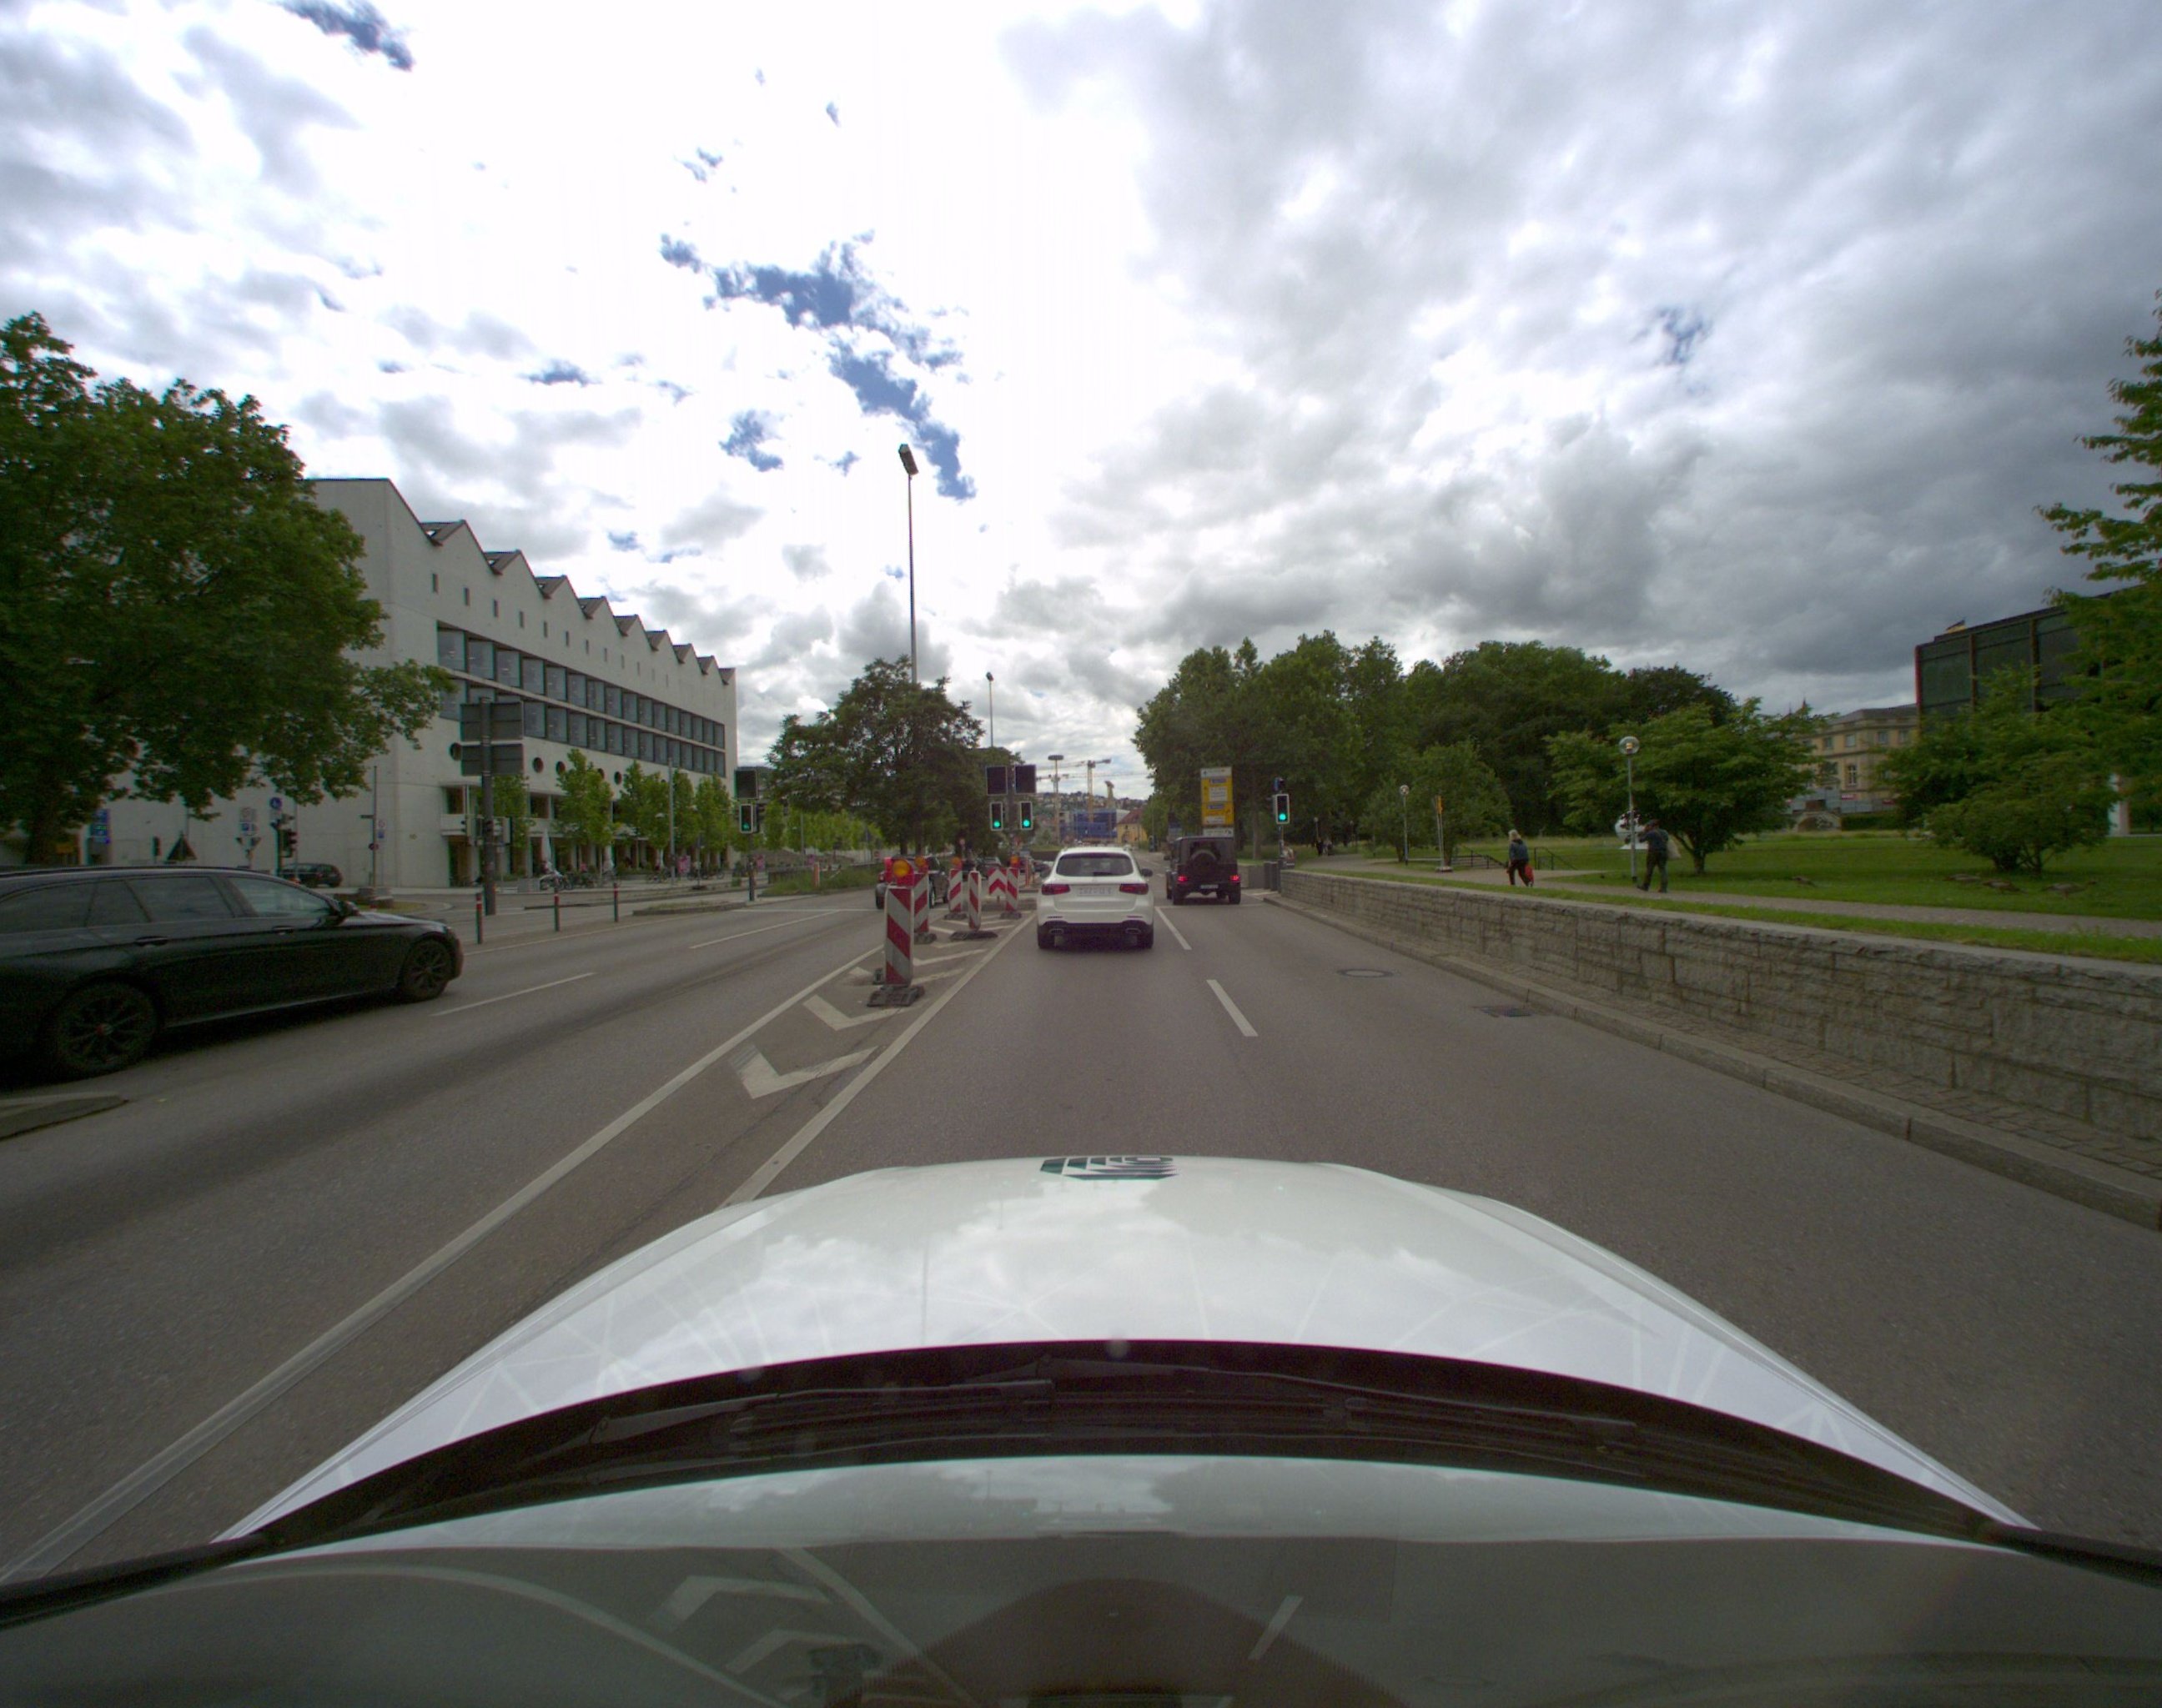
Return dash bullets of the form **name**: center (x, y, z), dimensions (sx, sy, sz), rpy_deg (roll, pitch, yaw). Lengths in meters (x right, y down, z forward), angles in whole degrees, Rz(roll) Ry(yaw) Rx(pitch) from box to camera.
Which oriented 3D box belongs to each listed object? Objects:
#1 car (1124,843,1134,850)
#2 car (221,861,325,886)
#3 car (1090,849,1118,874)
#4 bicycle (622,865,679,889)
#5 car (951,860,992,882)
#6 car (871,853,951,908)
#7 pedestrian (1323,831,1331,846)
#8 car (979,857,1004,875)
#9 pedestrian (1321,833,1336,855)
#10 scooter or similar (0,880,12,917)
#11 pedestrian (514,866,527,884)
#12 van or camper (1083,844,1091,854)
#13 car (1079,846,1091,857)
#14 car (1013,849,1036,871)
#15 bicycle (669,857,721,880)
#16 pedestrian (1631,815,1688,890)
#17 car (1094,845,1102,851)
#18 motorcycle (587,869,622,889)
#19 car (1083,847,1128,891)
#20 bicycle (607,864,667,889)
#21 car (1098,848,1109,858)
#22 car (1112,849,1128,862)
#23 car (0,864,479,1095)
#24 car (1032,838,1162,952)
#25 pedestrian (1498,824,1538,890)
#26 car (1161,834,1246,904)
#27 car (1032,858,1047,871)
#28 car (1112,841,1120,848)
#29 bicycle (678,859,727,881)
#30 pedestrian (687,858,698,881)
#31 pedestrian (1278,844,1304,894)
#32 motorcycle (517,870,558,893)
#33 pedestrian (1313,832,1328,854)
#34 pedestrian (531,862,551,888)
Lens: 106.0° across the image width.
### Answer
- **car**: center (11.916, -1.804, 202.614), dimensions (1.990, 1.618, 3.994), rpy_deg (1, -1, -4)
- **car**: center (-45.203, 1.087, 45.605), dimensions (3.974, 1.276, 1.751), rpy_deg (1, -1, 0)
- **car**: center (1.512, 0.470, 54.775), dimensions (1.714, 1.584, 3.998), rpy_deg (1, 0, -1)
- **bicycle**: center (-32.750, 1.748, 61.966), dimensions (3.603, 1.684, 1.182), rpy_deg (-2, 0, -2)
- **car**: center (-6.721, 1.016, 50.329), dimensions (1.711, 1.292, 4.005), rpy_deg (1, 0, 4)
- **car**: center (-4.992, 0.746, 24.334), dimensions (1.622, 1.509, 3.539), rpy_deg (0, -1, 0)
- **pedestrian**: center (21.125, -1.324, 69.996), dimensions (0.580, 1.325, 0.542), rpy_deg (1, -1, 1)
- **car**: center (-7.933, 1.025, 72.390), dimensions (1.748, 1.553, 3.998), rpy_deg (1, 0, -1)
- **pedestrian**: center (21.222, -0.845, 69.740), dimensions (0.992, 1.836, 1.030), rpy_deg (1, -1, 3)
- **scooter or similar**: center (-40.340, 1.649, 29.920), dimensions (1.410, 1.340, 0.538), rpy_deg (-2, 0, 0)
- **pedestrian**: center (-41.120, 1.539, 59.702), dimensions (0.517, 1.327, 0.565), rpy_deg (-3, -2, 0)
- **van or camper**: center (1.416, -1.156, 194.133), dimensions (1.916, 2.320, 3.998), rpy_deg (-1, -2, 0)
- **car**: center (0.663, -0.454, 143.516), dimensions (1.986, 1.757, 4.001), rpy_deg (1, -1, 2)
- **car**: center (-4.567, 0.482, 66.202), dimensions (1.714, 1.678, 3.998), rpy_deg (1, 0, -1)
- **bicycle**: center (-32.061, 1.203, 67.731), dimensions (3.614, 1.684, 1.178), rpy_deg (-2, 0, -11)
- **pedestrian**: center (12.951, -0.041, 18.241), dimensions (0.797, 1.626, 0.627), rpy_deg (-2, 0, 8)
- **car**: center (4.157, -1.441, 200.700), dimensions (1.714, 1.584, 3.998), rpy_deg (1, 0, -1)
- **motorcycle**: center (-30.712, 1.618, 52.517), dimensions (1.893, 1.234, 0.653), rpy_deg (-2, -2, -25)
- **car**: center (0.951, 0.599, 32.374), dimensions (1.666, 1.628, 4.000), rpy_deg (1, -1, 1)
- **bicycle**: center (-32.446, 1.643, 59.540), dimensions (3.603, 1.684, 1.182), rpy_deg (-2, 0, -2)
- **car**: center (4.094, -0.248, 148.737), dimensions (1.987, 1.781, 3.999), rpy_deg (1, -1, 0)
- **car**: center (5.245, 0.187, 110.464), dimensions (1.987, 1.662, 3.999), rpy_deg (1, -1, 0)
- **car**: center (-7.825, 0.820, 6.971), dimensions (1.807, 1.460, 4.859), rpy_deg (0, -1, -2)
- **car**: center (0.231, 0.635, 14.243), dimensions (1.935, 1.684, 3.999), rpy_deg (1, -1, -1)
- **pedestrian**: center (10.751, 0.073, 20.053), dimensions (0.677, 1.562, 0.912), rpy_deg (-2, 0, 18)
- **car**: center (3.613, 0.435, 24.864), dimensions (1.970, 1.893, 4.708), rpy_deg (-1, -1, 1)
- **car**: center (-5.081, 1.265, 99.763), dimensions (1.716, 1.584, 3.994), rpy_deg (1, 0, -4)
- **car**: center (8.232, -2.192, 190.936), dimensions (1.714, 1.584, 3.998), rpy_deg (1, 0, -1)
- **bicycle**: center (-32.384, 1.345, 69.739), dimensions (3.614, 1.684, 1.178), rpy_deg (-2, 0, -11)
- **pedestrian**: center (-35.368, 1.400, 74.121), dimensions (0.711, 2.013, 0.735), rpy_deg (0, 1, -14)
- **pedestrian**: center (7.118, 0.499, 27.671), dimensions (0.695, 1.656, 0.683), rpy_deg (1, -1, 0)
- **motorcycle**: center (-31.414, 1.607, 47.105), dimensions (1.893, 1.234, 0.653), rpy_deg (-2, -2, -25)
- **pedestrian**: center (19.131, -0.853, 65.040), dimensions (0.893, 1.732, 0.969), rpy_deg (1, 0, 1)
- **pedestrian**: center (-32.849, 1.281, 49.514), dimensions (0.887, 1.557, 0.591), rpy_deg (-2, 0, -42)
